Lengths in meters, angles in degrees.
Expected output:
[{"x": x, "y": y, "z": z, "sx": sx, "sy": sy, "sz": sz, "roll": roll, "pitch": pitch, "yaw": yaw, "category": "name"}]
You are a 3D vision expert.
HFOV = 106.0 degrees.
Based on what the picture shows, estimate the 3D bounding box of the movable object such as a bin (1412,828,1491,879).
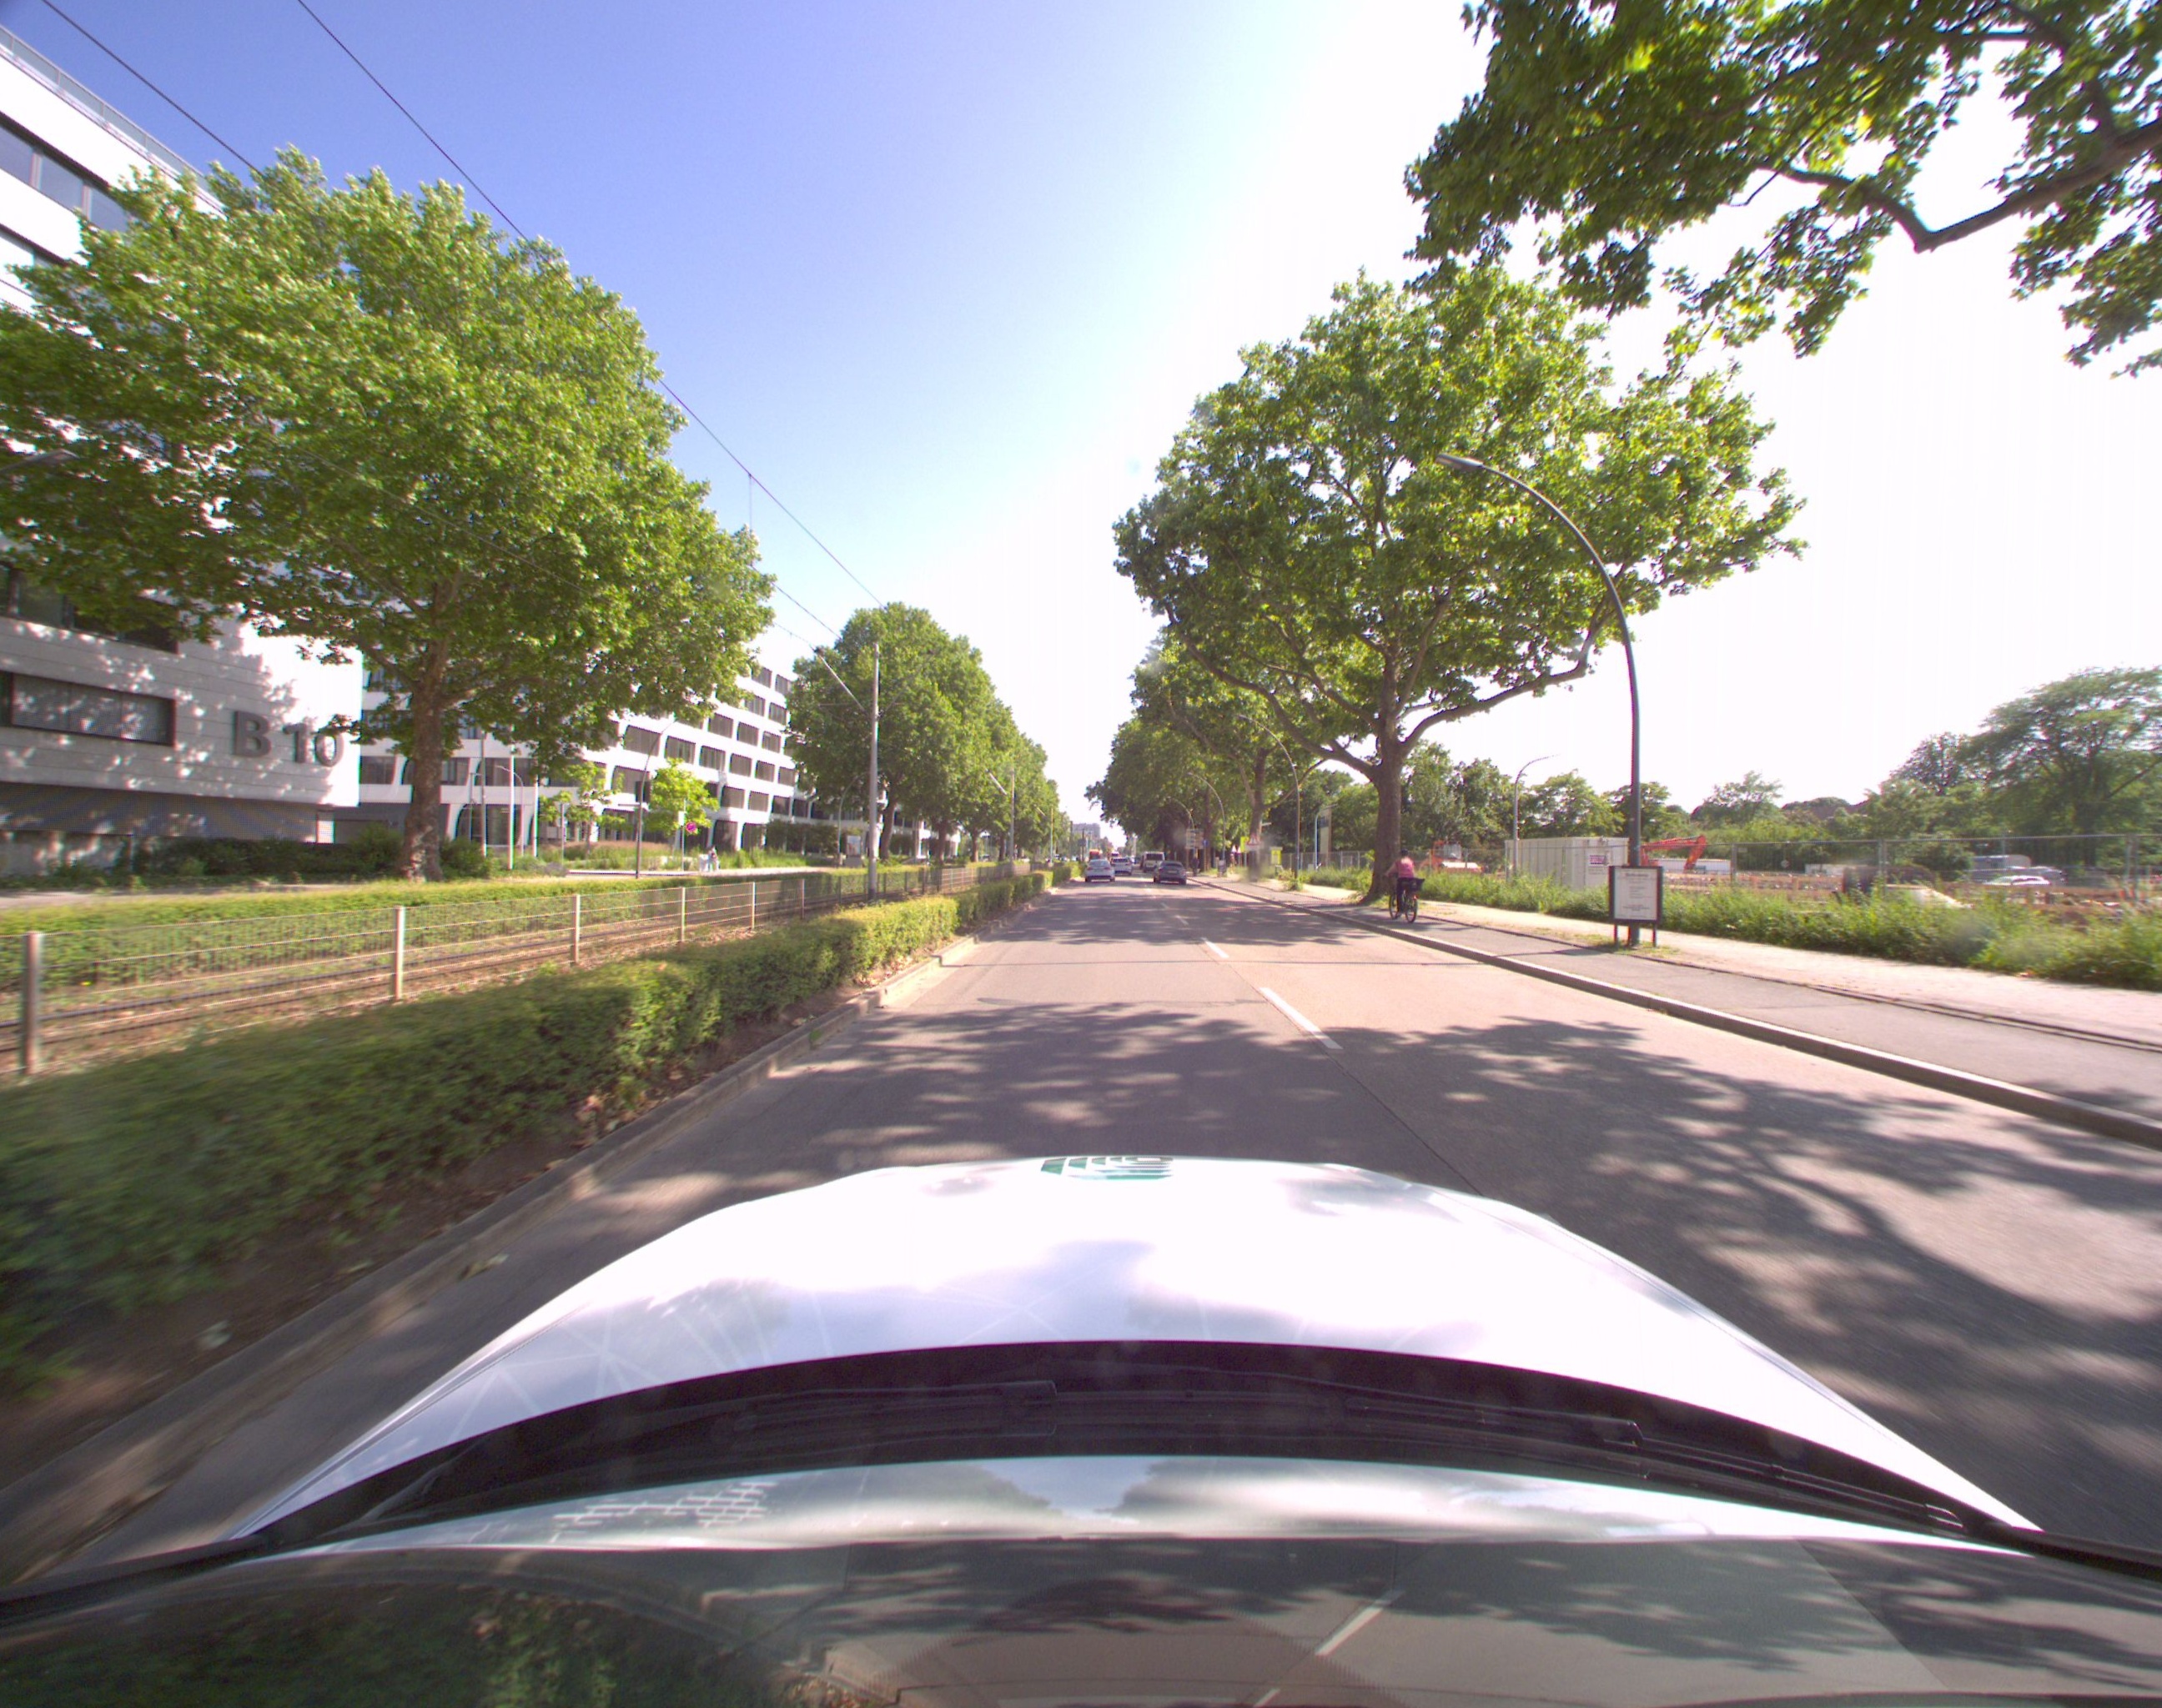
[{"x": 23.925, "y": -0.028, "z": 52.914, "sx": 2.361, "sy": 3.072, "sz": 5.985, "roll": 1, "pitch": 0, "yaw": 0, "category": "movable object such as a bin"}]

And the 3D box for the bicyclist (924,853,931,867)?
[{"x": -17.089, "y": 0.616, "z": 90.563, "sx": 0.651, "sy": 1.535, "sz": 0.641, "roll": 1, "pitch": 0, "yaw": 3, "category": "bicyclist"}]

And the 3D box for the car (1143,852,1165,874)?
[{"x": 7.740, "y": 0.986, "z": 86.612, "sx": 2.220, "sy": 2.212, "sz": 4.165, "roll": 1, "pitch": 0, "yaw": 3, "category": "car"}]

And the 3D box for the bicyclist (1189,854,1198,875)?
[{"x": 9.263, "y": 0.884, "z": 67.018, "sx": 0.632, "sy": 1.648, "sz": 0.980, "roll": -2, "pitch": 1, "yaw": 2, "category": "bicyclist"}]

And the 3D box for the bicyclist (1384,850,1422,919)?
[{"x": 7.737, "y": 0.718, "z": 19.576, "sx": 0.617, "sy": 1.600, "sz": 0.732, "roll": -1, "pitch": 0, "yaw": 1, "category": "bicyclist"}]

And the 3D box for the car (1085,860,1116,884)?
[{"x": 1.245, "y": 1.093, "z": 51.140, "sx": 1.777, "sy": 1.420, "sz": 3.888, "roll": 1, "pitch": 0, "yaw": 3, "category": "car"}]

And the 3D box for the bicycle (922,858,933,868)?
[{"x": -17.089, "y": 0.977, "z": 90.531, "sx": 0.661, "sy": 1.124, "sz": 2.032, "roll": 1, "pitch": 0, "yaw": 4, "category": "bicycle"}]

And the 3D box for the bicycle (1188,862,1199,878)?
[{"x": 9.271, "y": 1.320, "z": 67.032, "sx": 0.711, "sy": 1.148, "sz": 2.180, "roll": -2, "pitch": 2, "yaw": 3, "category": "bicycle"}]

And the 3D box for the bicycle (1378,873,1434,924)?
[{"x": 7.766, "y": 1.048, "z": 19.557, "sx": 0.649, "sy": 1.129, "sz": 1.947, "roll": -1, "pitch": -1, "yaw": 3, "category": "bicycle"}]

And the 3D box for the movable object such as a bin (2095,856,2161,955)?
[{"x": 62.505, "y": 2.860, "z": 45.133, "sx": 11.842, "sy": 5.176, "sz": 6.674, "roll": 2, "pitch": -1, "yaw": -45, "category": "movable object such as a bin"}]

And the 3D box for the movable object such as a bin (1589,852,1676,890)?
[{"x": 46.569, "y": 1.418, "z": 68.897, "sx": 5.154, "sy": 2.975, "sz": 3.297, "roll": 1, "pitch": -1, "yaw": 3, "category": "movable object such as a bin"}]

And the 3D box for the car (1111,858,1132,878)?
[{"x": 3.545, "y": 1.178, "z": 70.320, "sx": 1.722, "sy": 1.605, "sz": 3.888, "roll": 1, "pitch": 0, "yaw": 3, "category": "car"}]

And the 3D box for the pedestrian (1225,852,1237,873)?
[{"x": 13.776, "y": 0.753, "z": 74.794, "sx": 0.935, "sy": 1.892, "sz": 1.152, "roll": 1, "pitch": 0, "yaw": 3, "category": "pedestrian"}]

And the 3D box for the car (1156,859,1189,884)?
[{"x": 5.588, "y": 1.026, "z": 50.060, "sx": 1.775, "sy": 1.420, "sz": 4.004, "roll": 1, "pitch": 0, "yaw": 3, "category": "car"}]

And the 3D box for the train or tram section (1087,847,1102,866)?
[{"x": 2.933, "y": 0.556, "z": 174.881, "sx": 2.605, "sy": 4.015, "sz": 7.757, "roll": 1, "pitch": 0, "yaw": 4, "category": "train or tram section"}]

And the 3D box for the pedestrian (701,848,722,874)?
[{"x": -22.822, "y": 0.421, "z": 50.336, "sx": 0.717, "sy": 1.588, "sz": 1.016, "roll": 1, "pitch": -1, "yaw": 3, "category": "pedestrian"}]

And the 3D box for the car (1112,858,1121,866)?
[{"x": 7.484, "y": 1.614, "z": 172.927, "sx": 1.722, "sy": 1.631, "sz": 4.004, "roll": 1, "pitch": 0, "yaw": 3, "category": "car"}]

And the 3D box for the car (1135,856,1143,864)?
[{"x": 14.320, "y": 1.552, "z": 201.237, "sx": 2.063, "sy": 1.999, "sz": 4.062, "roll": 1, "pitch": 0, "yaw": 3, "category": "car"}]
